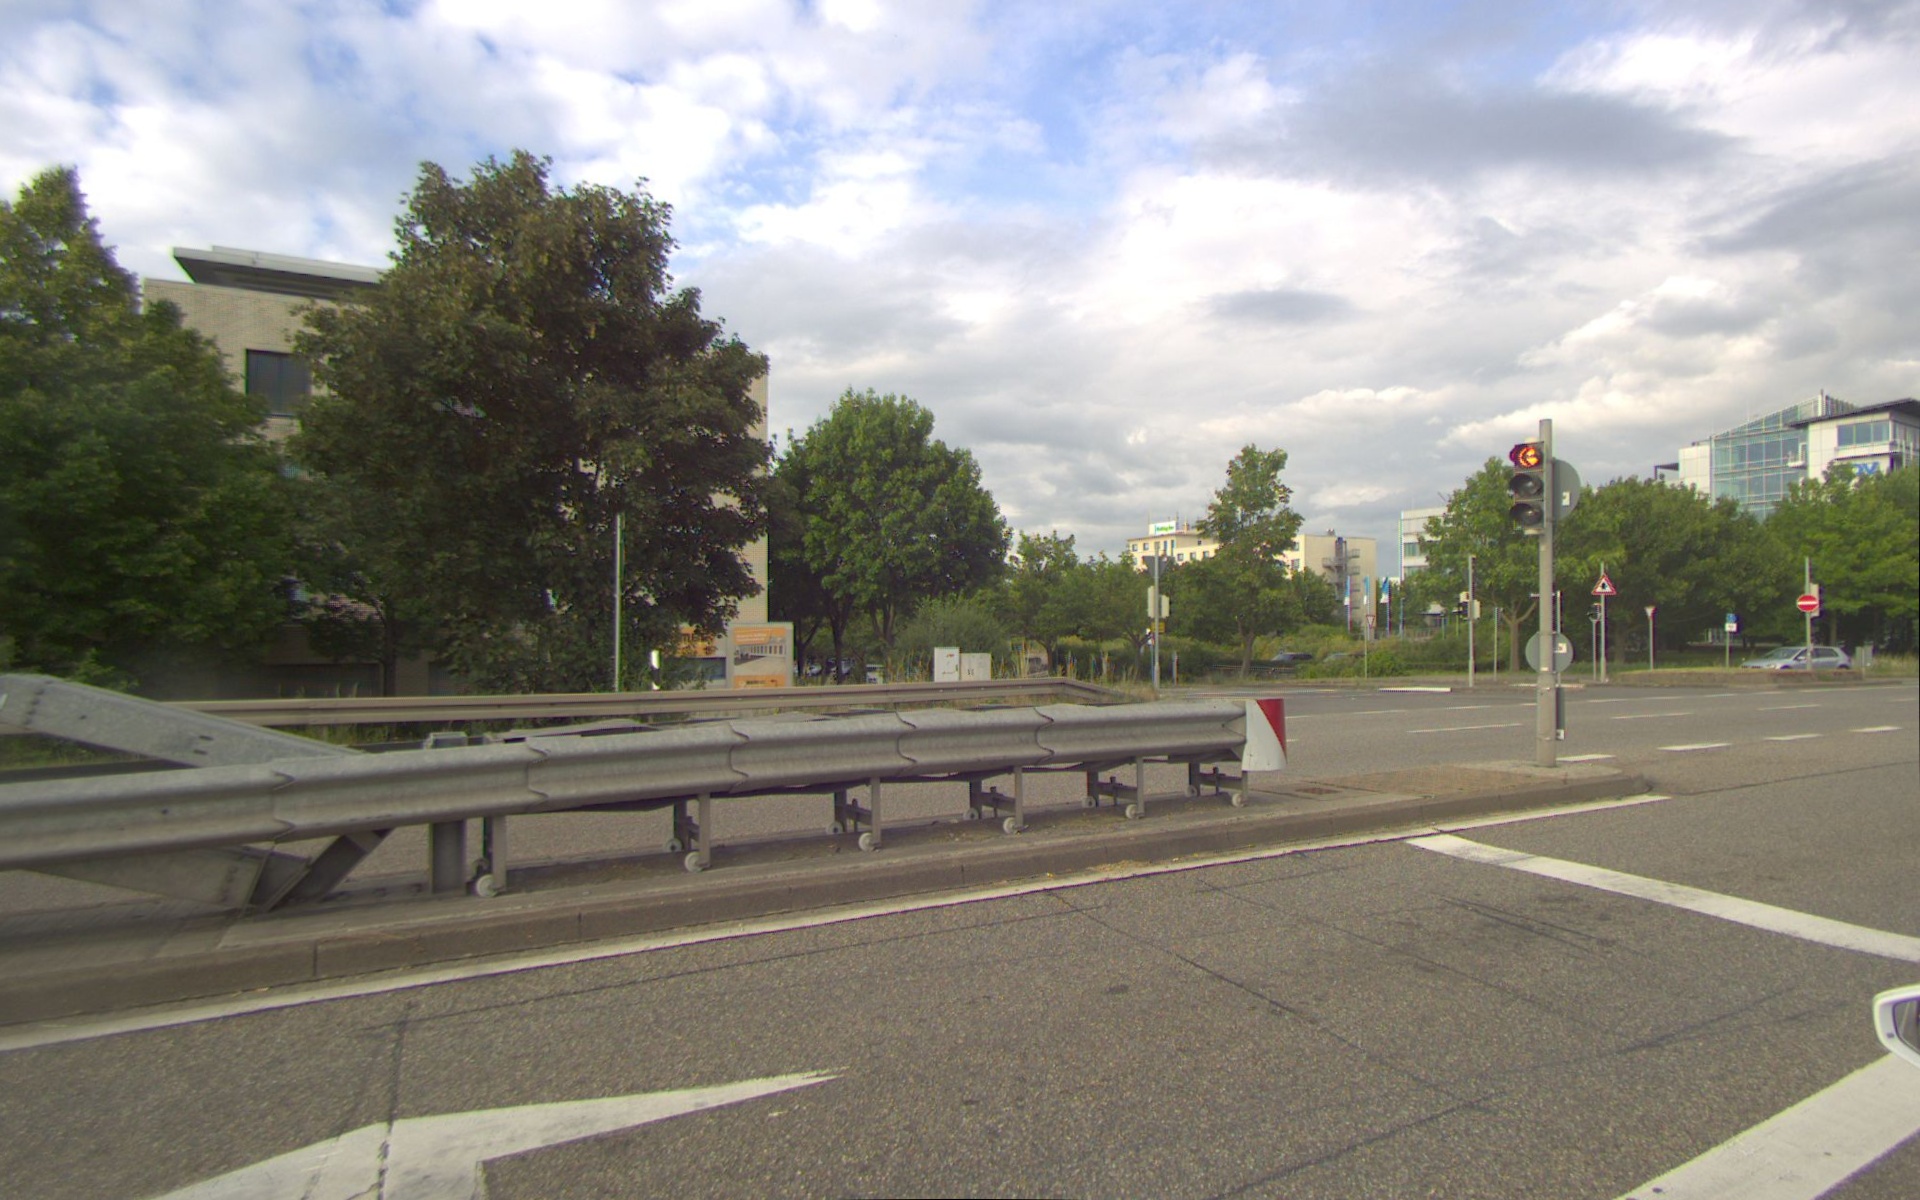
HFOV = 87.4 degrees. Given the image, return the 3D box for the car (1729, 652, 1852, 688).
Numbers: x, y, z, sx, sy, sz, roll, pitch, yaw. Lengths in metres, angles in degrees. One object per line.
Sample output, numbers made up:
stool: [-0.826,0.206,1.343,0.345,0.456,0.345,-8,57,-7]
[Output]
car: [34.322,2.907,41.572,3.677,1.359,1.587,-1,-4,-1]
